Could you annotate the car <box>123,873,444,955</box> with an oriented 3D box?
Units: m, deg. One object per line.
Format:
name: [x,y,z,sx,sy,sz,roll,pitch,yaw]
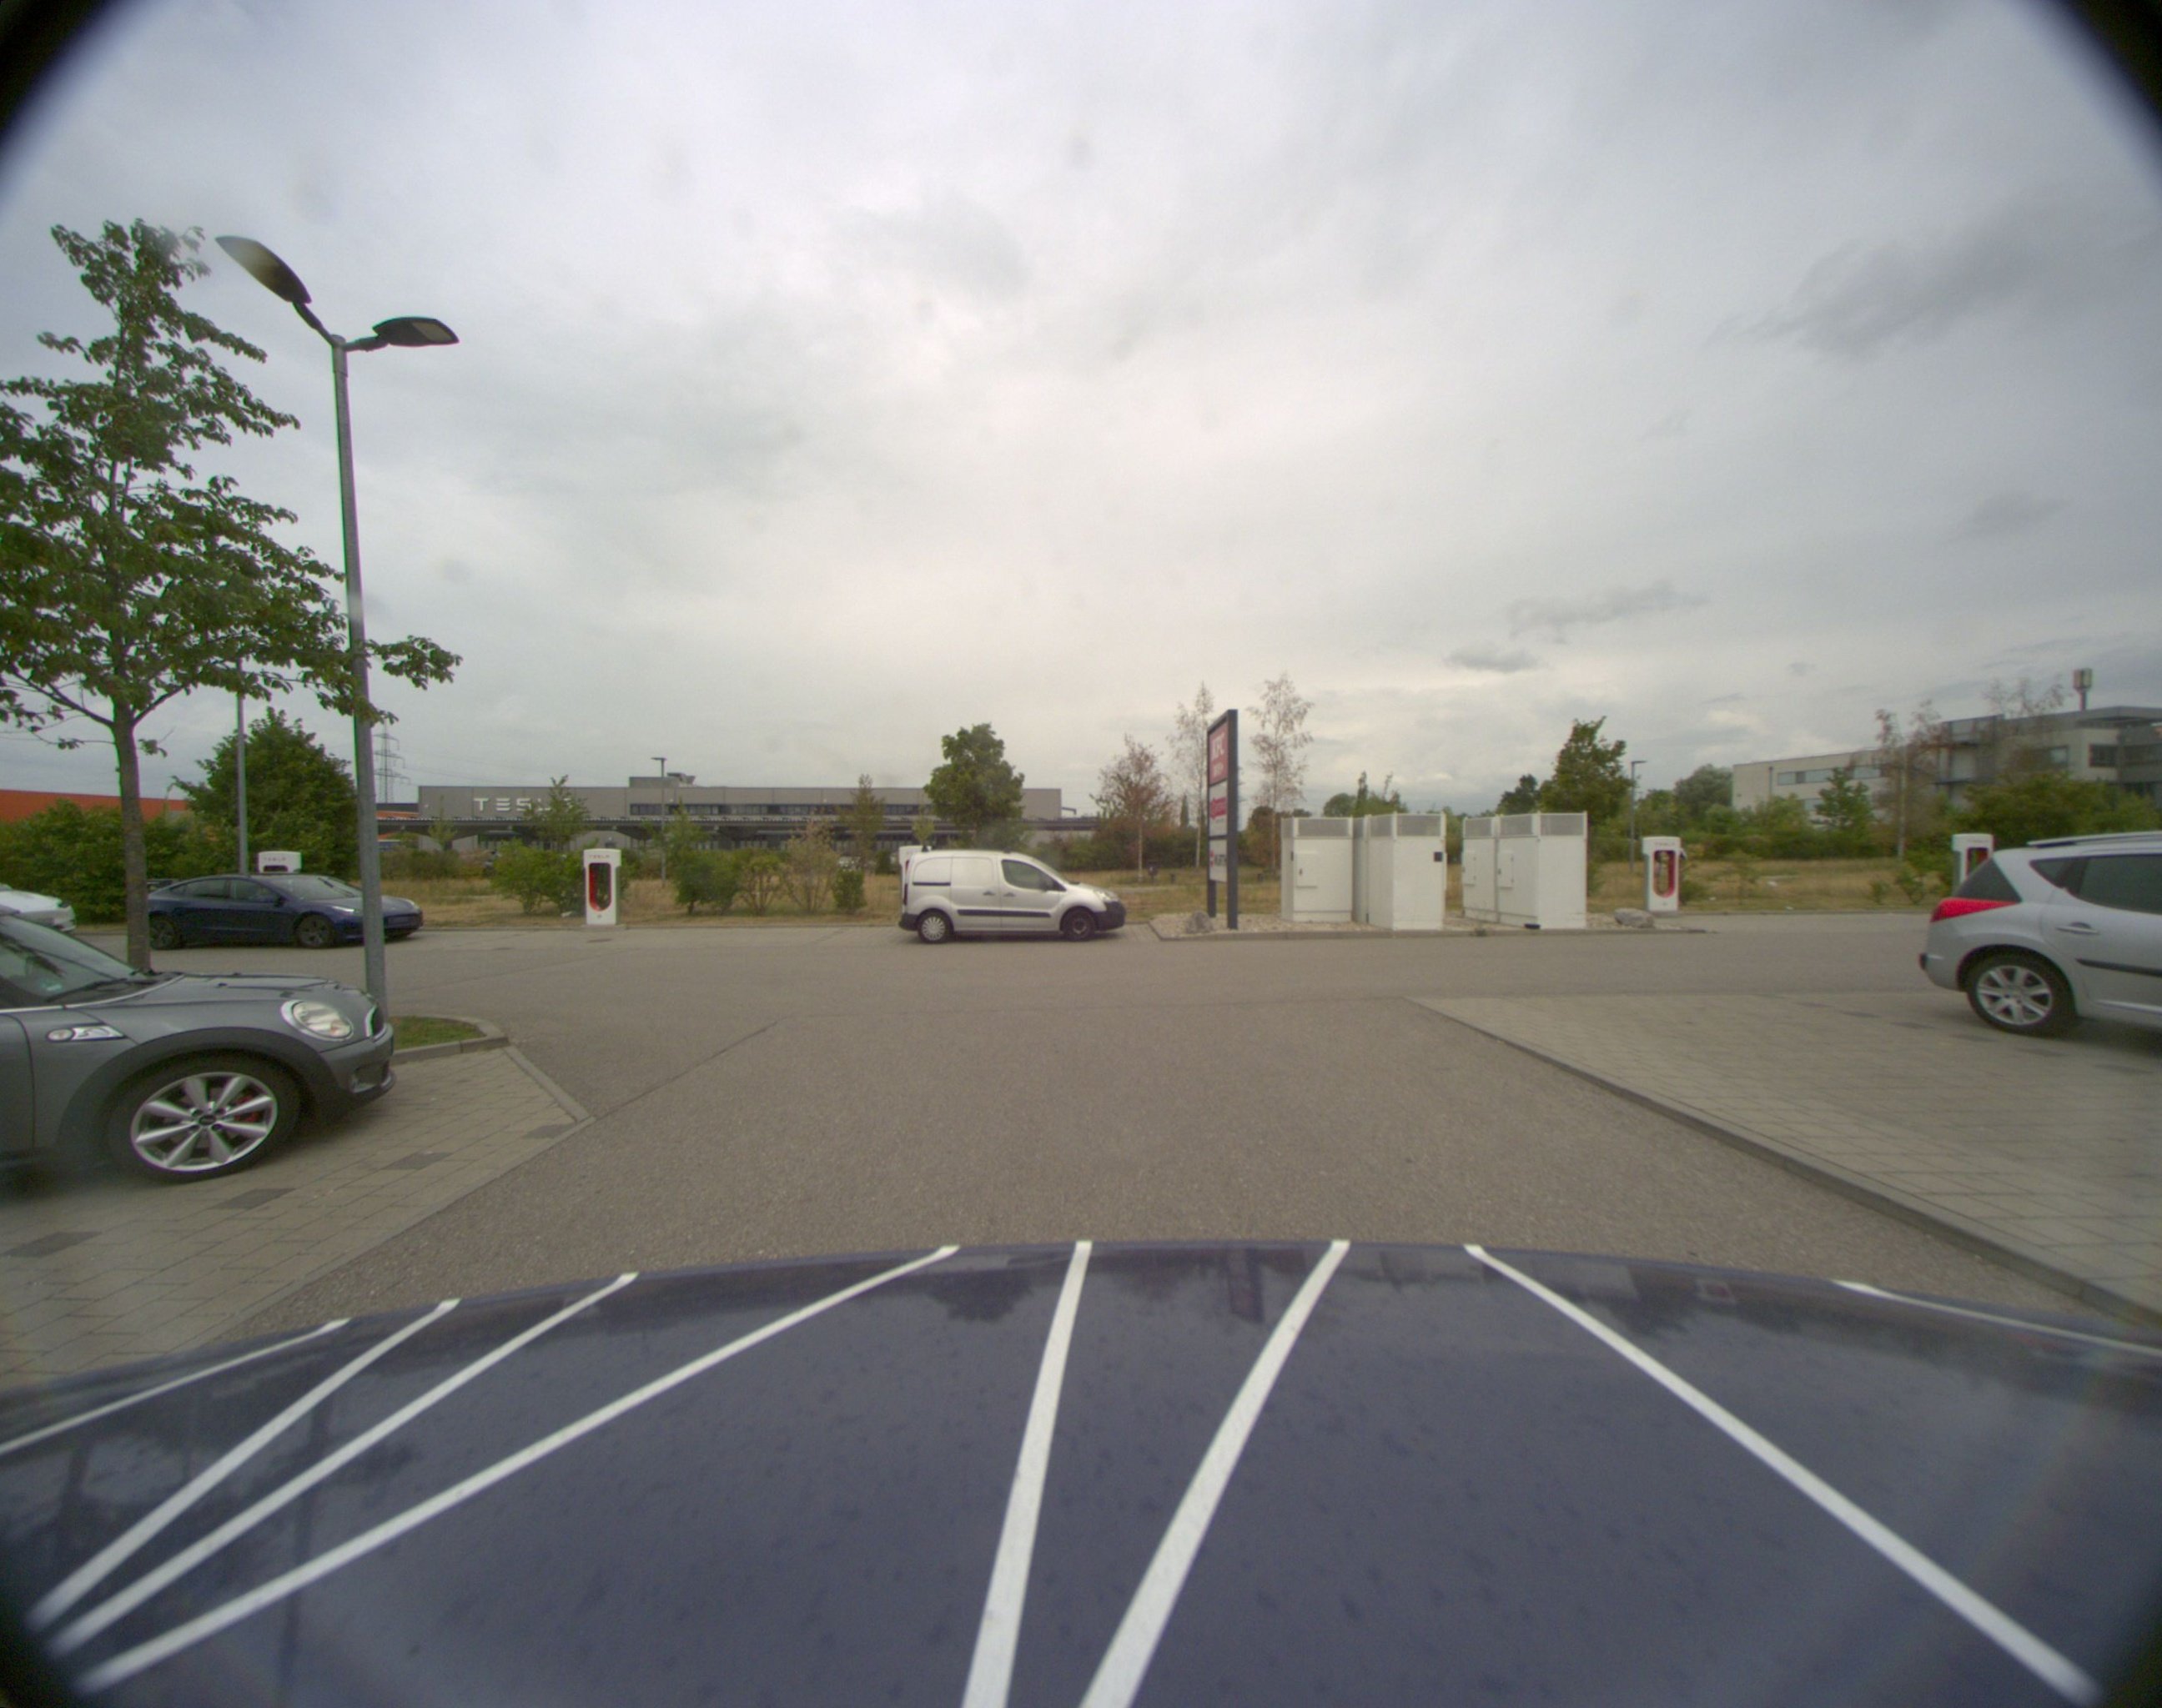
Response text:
car: [-15.729,1.150,15.168,4.453,1.451,1.833,0,1,1]

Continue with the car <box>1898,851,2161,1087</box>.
car: [7.723,0.735,4.311,1.628,1.496,4.167,0,0,-2]

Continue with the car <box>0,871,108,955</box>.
car: [-22.916,1.178,15.015,4.476,1.544,2.072,-1,1,-3]

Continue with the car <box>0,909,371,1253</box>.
car: [-5.666,1.040,3.443,3.535,1.368,1.605,0,-1,-42]

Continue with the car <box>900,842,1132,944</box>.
car: [-1.235,0.737,15.212,4.334,1.877,1.946,0,-1,-2]
